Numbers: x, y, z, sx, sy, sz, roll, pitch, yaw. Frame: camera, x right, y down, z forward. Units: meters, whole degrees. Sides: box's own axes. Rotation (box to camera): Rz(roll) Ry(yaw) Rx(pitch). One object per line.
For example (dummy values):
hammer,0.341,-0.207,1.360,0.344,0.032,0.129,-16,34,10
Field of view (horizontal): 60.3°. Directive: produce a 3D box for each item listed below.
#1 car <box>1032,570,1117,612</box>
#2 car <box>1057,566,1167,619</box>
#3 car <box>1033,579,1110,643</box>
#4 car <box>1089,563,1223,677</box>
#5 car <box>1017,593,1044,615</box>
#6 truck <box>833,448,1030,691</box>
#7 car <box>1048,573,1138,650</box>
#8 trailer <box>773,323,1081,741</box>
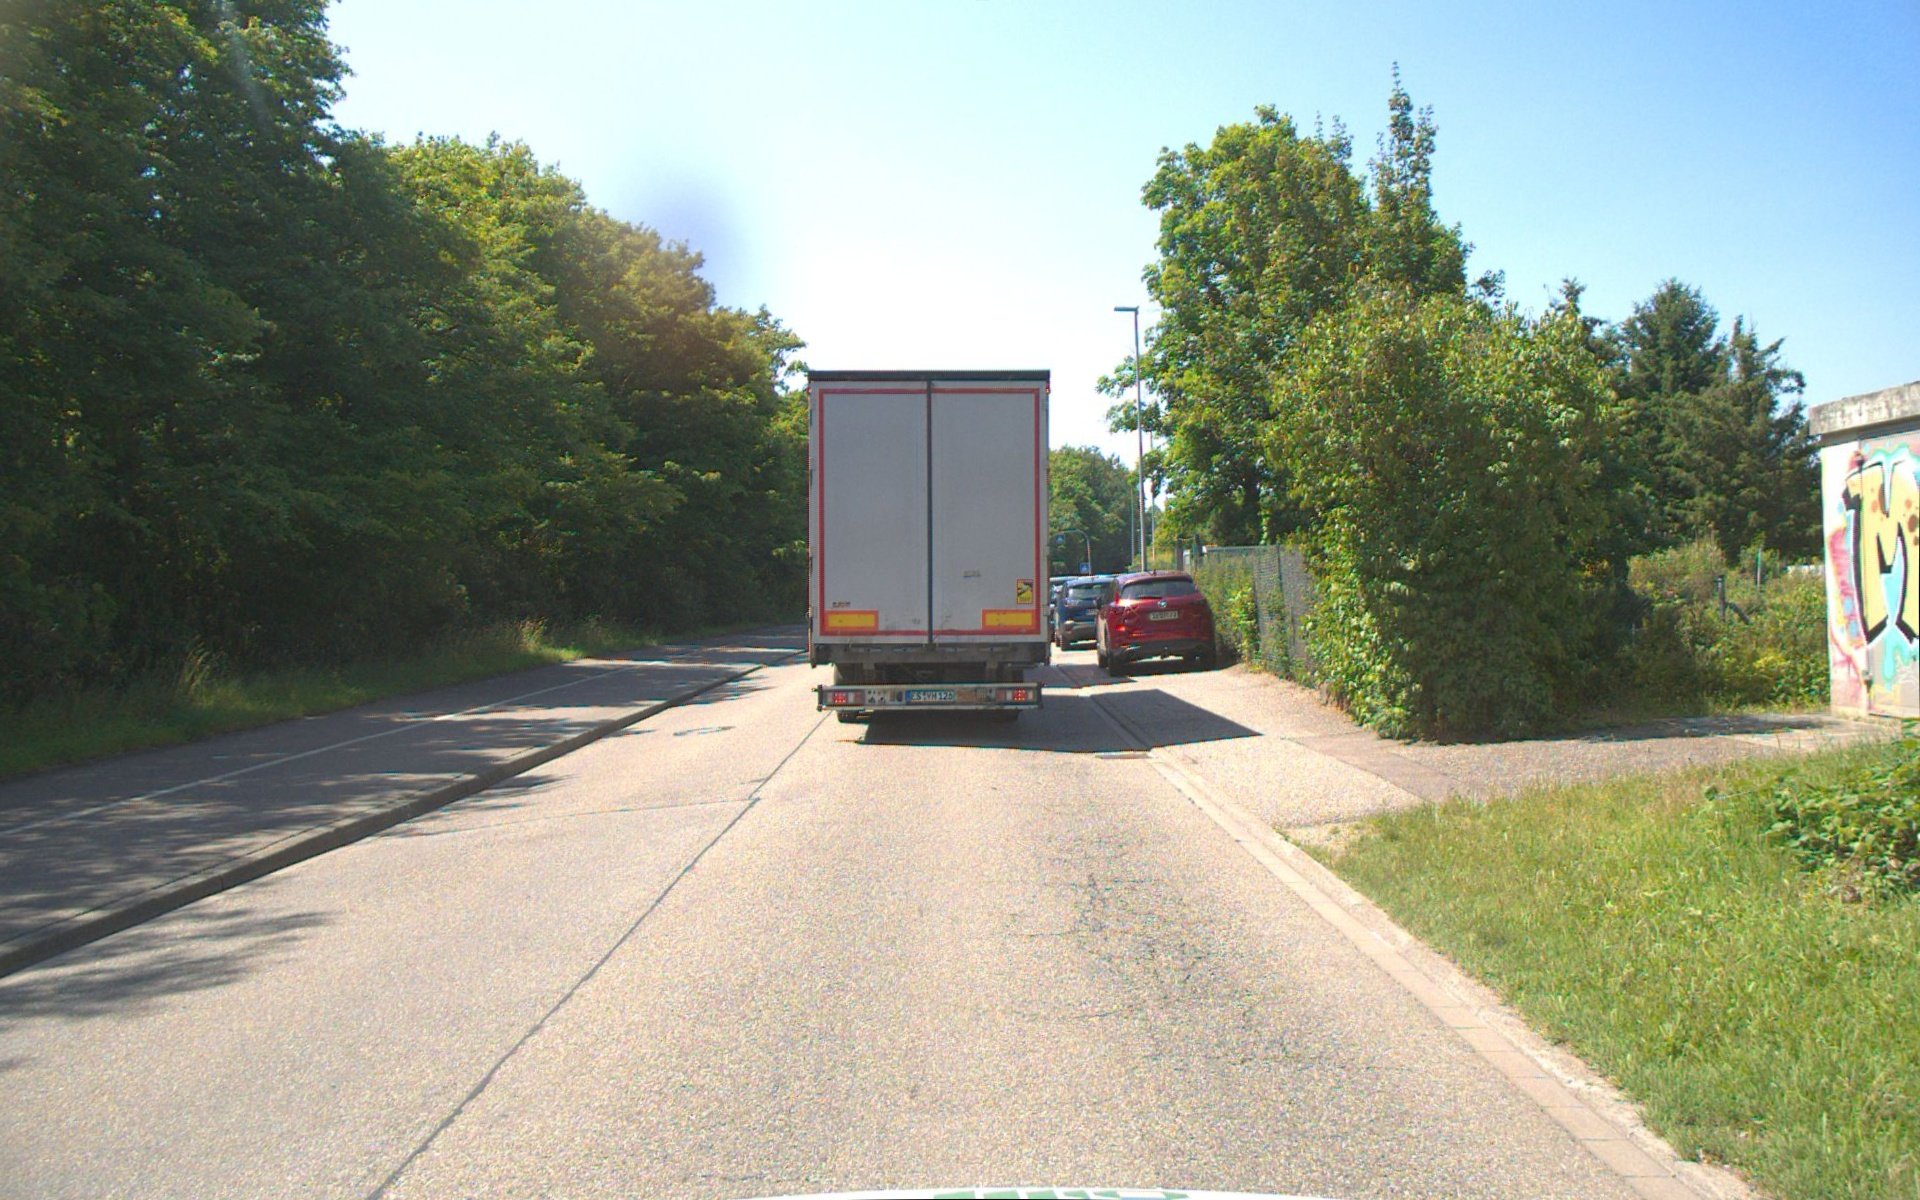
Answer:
car,6.388,-0.524,92.212,4.525,1.880,1.997,-6,0,4
car,6.052,-0.298,66.097,4.169,1.727,1.854,-5,0,4
car,3.018,0.263,45.558,1.753,1.507,4.665,-5,1,1
car,3.357,0.299,29.128,1.753,1.686,4.453,-5,1,1
car,5.159,0.272,120.636,1.743,1.512,4.003,-1,1,6
truck,-0.503,-0.514,29.538,3.051,3.790,6.412,-1,0,-1
car,3.117,0.228,39.405,1.753,1.631,4.130,-3,1,0
trailer,-0.423,-0.736,22.595,3.049,4.174,11.534,-1,0,-1
